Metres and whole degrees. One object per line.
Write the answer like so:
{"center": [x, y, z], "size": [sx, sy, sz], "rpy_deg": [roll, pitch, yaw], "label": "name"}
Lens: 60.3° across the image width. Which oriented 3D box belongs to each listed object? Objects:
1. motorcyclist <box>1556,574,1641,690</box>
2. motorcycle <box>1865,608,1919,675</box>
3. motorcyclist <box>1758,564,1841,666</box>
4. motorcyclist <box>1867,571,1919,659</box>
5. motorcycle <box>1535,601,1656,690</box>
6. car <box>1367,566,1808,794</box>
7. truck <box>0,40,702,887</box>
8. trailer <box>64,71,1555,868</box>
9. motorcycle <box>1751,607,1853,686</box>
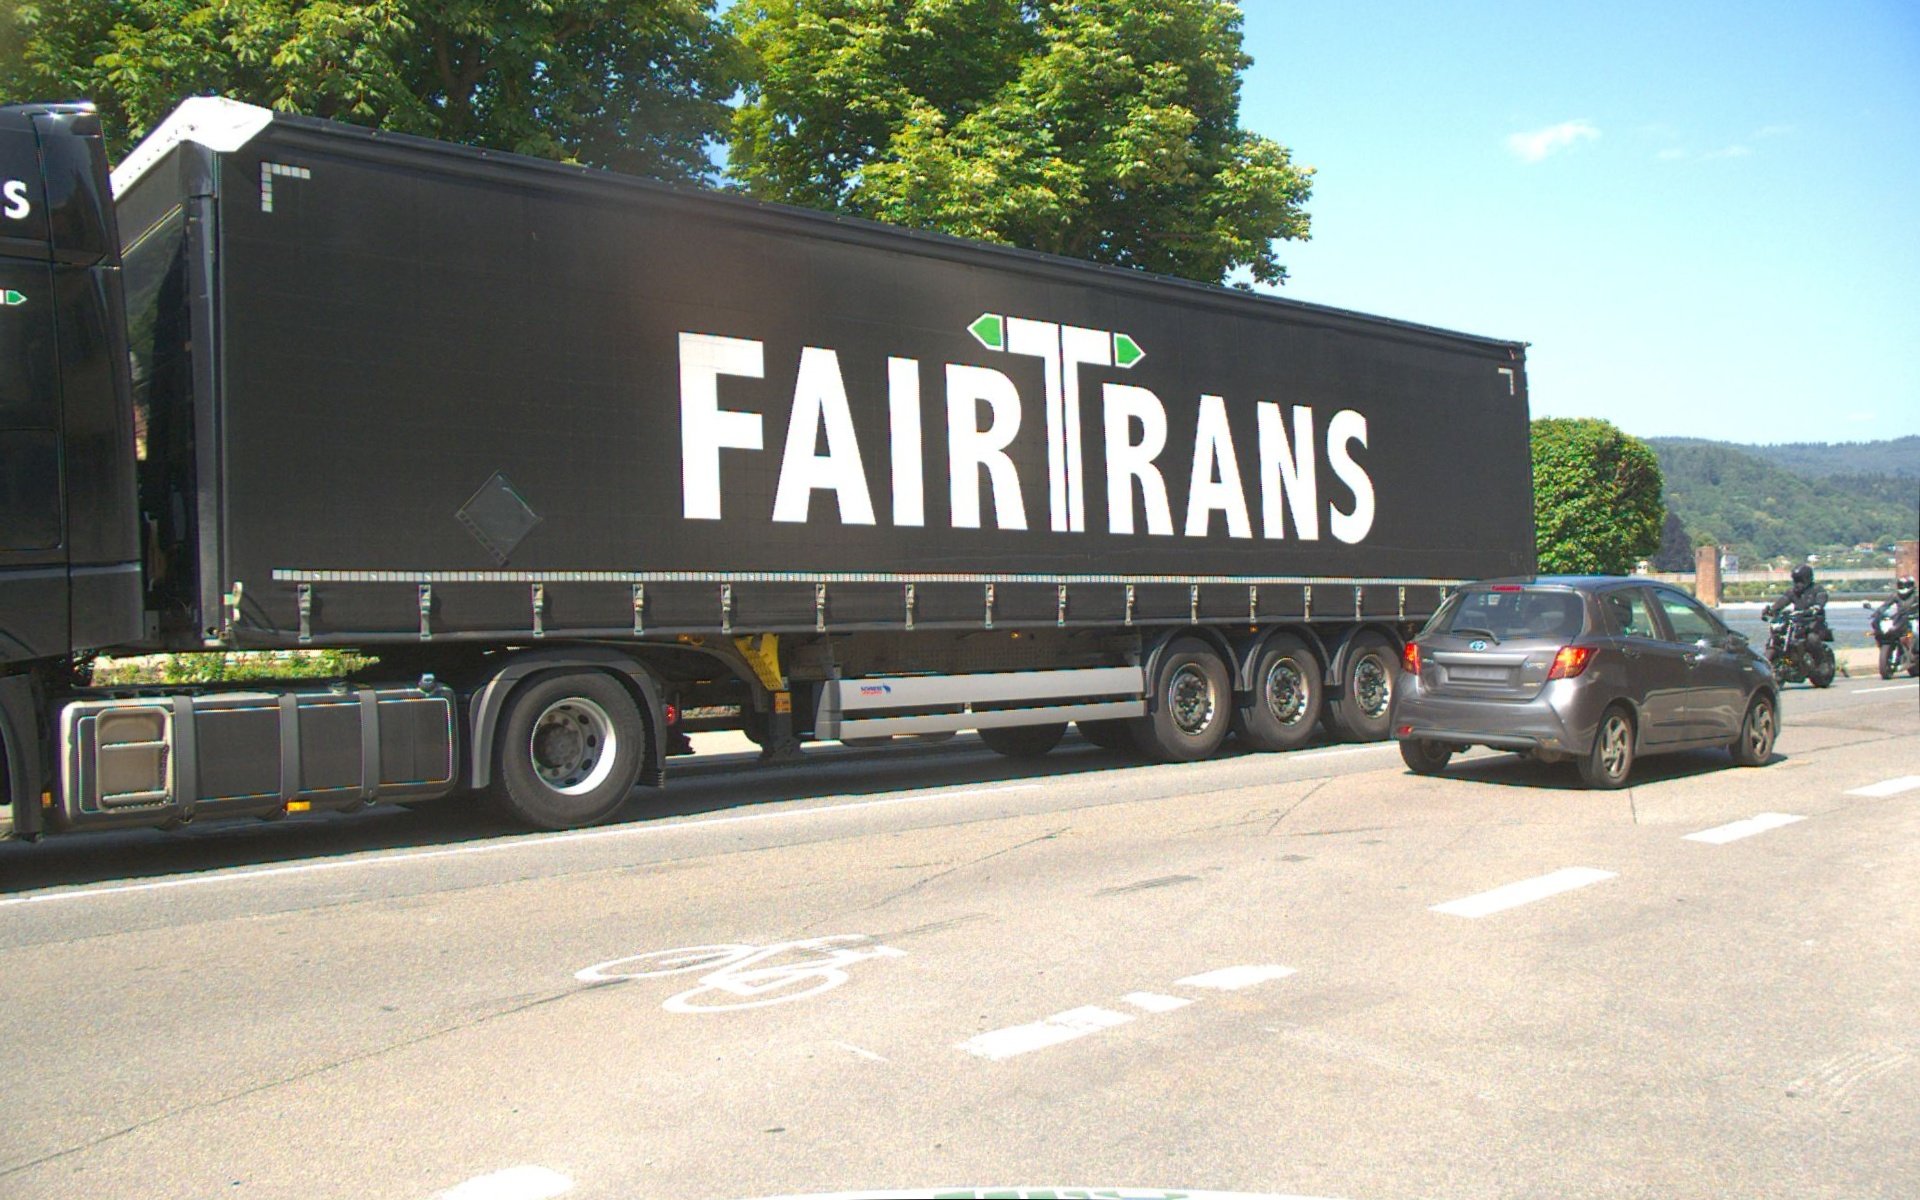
{"center": [8.715, 0.435, 22.568], "size": [0.983, 1.551, 0.655], "rpy_deg": [-1, -2, -41], "label": "motorcyclist"}
{"center": [15.351, 0.654, 26.760], "size": [1.799, 1.042, 0.649], "rpy_deg": [-1, -1, -42], "label": "motorcycle"}
{"center": [11.737, 0.211, 23.124], "size": [0.793, 1.390, 0.777], "rpy_deg": [0, -1, -41], "label": "motorcyclist"}
{"center": [15.195, 0.238, 26.665], "size": [0.928, 1.390, 0.709], "rpy_deg": [0, -1, -41], "label": "motorcyclist"}
{"center": [8.650, 0.606, 22.483], "size": [2.075, 1.143, 0.625], "rpy_deg": [-1, -2, -42], "label": "motorcycle"}
{"center": [5.020, 0.530, 13.000], "size": [3.849, 1.525, 1.701], "rpy_deg": [-1, 0, -43], "label": "car"}
{"center": [-4.829, -0.639, 9.787], "size": [5.879, 4.143, 2.797], "rpy_deg": [-1, -2, -41], "label": "truck"}
{"center": [0.222, -0.732, 14.215], "size": [13.648, 4.176, 2.800], "rpy_deg": [-1, -2, -41], "label": "trailer"}
{"center": [11.781, 0.635, 23.117], "size": [1.799, 1.042, 0.649], "rpy_deg": [-1, -1, -42], "label": "motorcycle"}
